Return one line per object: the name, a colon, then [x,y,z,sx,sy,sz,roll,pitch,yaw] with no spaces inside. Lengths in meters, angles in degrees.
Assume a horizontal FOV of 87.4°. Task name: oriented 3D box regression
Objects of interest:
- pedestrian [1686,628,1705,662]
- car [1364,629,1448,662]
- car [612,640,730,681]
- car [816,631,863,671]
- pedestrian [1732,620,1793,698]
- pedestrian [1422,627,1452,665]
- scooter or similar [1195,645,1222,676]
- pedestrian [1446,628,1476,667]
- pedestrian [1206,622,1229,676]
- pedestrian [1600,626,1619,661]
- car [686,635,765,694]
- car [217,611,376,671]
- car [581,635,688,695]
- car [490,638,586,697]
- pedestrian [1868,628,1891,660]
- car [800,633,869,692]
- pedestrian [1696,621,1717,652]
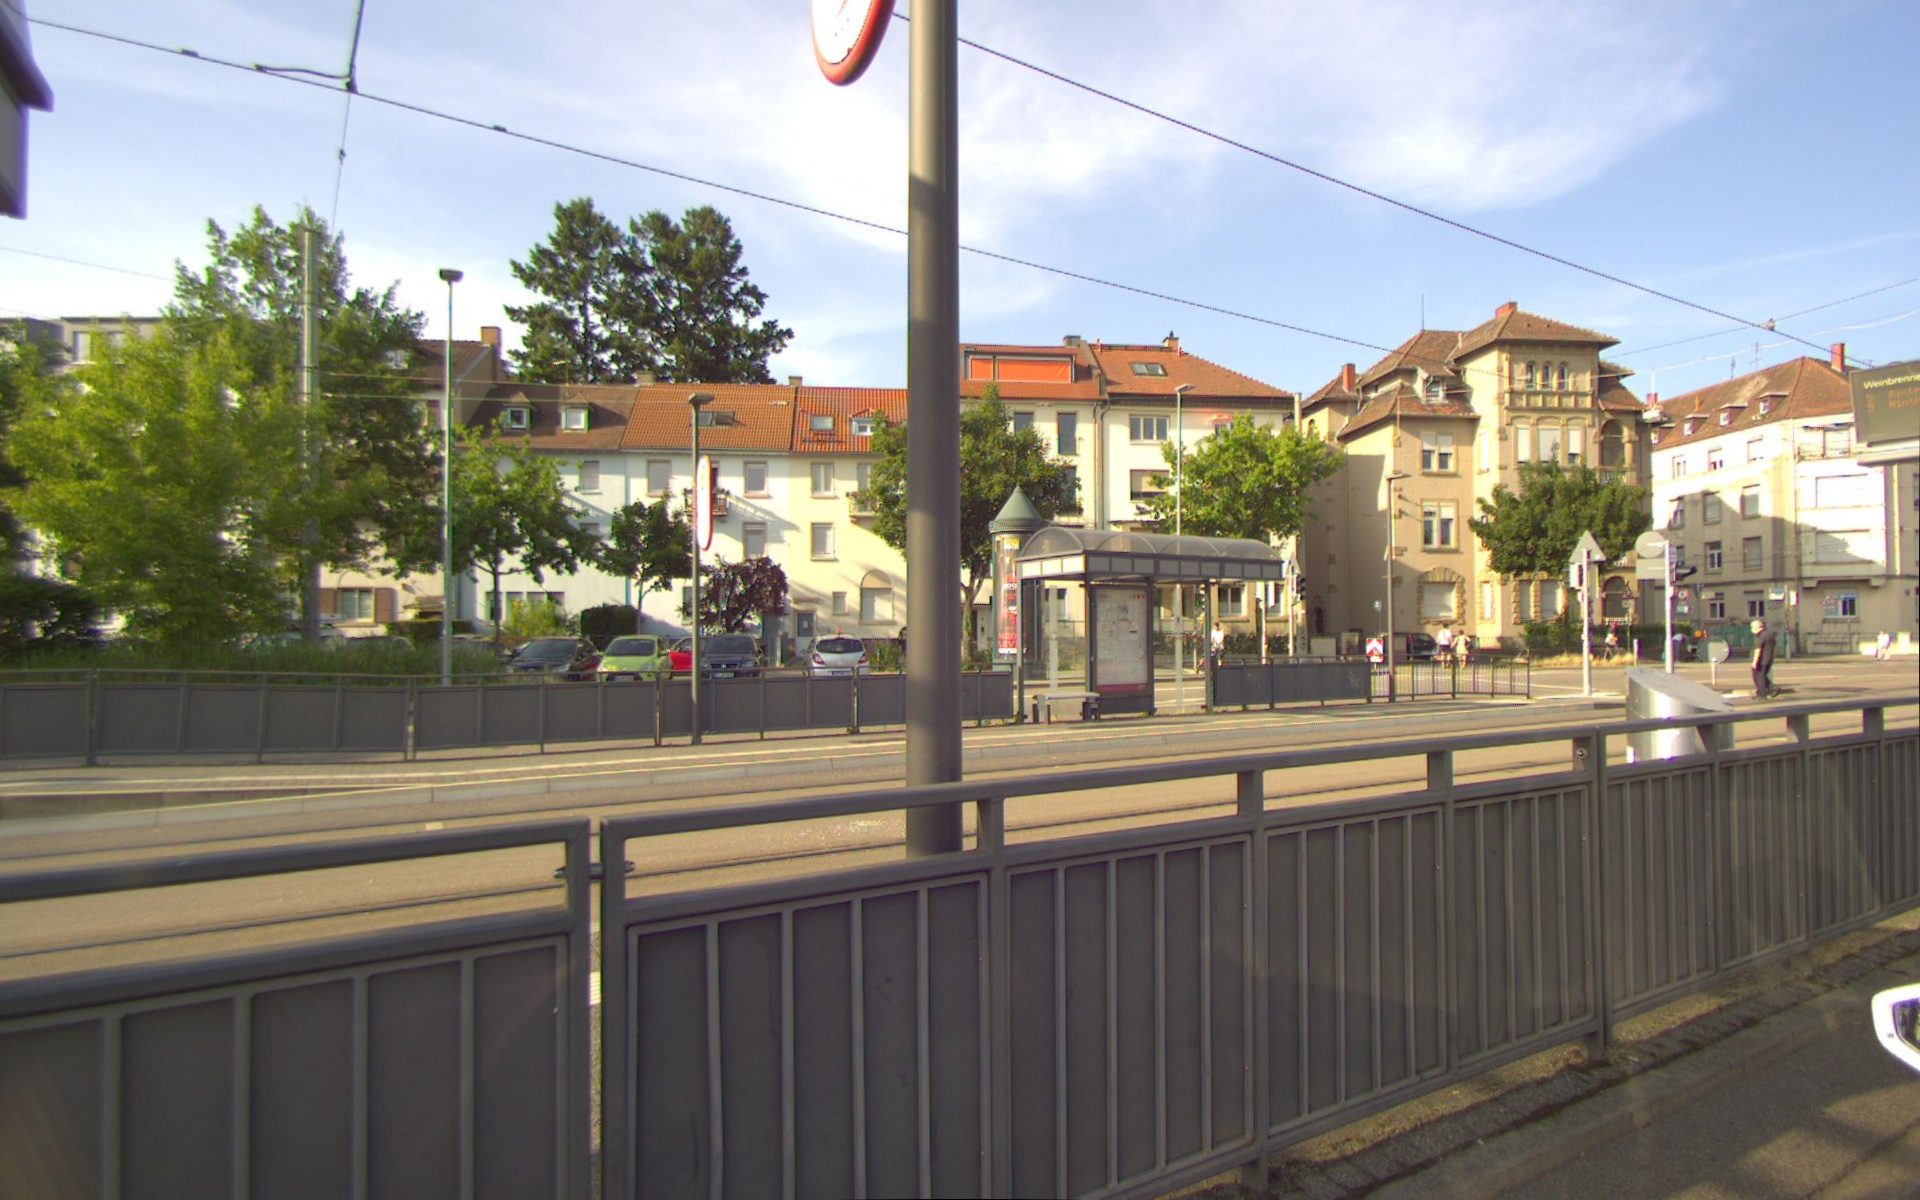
pedestrian: [33.203,2.044,45.351,0.382,1.520,0.535,0,-2,-15]
car: [21.089,2.129,47.669,1.732,1.327,4.111,1,0,-8]
car: [-10.480,2.175,36.708,3.927,1.416,1.836,0,-2,-9]
car: [-5.332,2.235,44.681,1.962,1.684,3.997,0,-2,-6]
pedestrian: [17.527,1.281,21.954,0.778,1.667,0.757,-1,-2,16]
pedestrian: [20.205,1.940,42.551,0.768,1.572,0.831,0,-2,-8]
scooter or similar: [8.210,1.994,33.171,0.548,1.001,1.021,-1,-2,32]
pedestrian: [20.790,1.966,41.721,0.768,1.572,0.831,0,-2,-8]
pedestrian: [8.704,1.648,33.925,0.539,1.769,0.762,-1,-2,31]
pedestrian: [28.843,1.937,44.605,0.540,1.520,0.437,0,-2,-15]
car: [-6.399,1.722,27.758,1.815,1.505,3.995,0,-2,-9]
car: [-17.884,1.117,27.340,1.813,1.505,3.999,0,-2,-3]
car: [-8.876,1.738,27.730,1.813,1.505,3.999,0,-2,-3]
car: [-11.114,1.729,26.714,1.968,1.416,3.985,0,-2,-18]
pedestrian: [45.982,2.205,50.227,0.702,1.561,0.626,1,-2,-30]
car: [-3.583,1.711,28.306,1.815,1.505,3.995,0,-2,-9]
pedestrian: [49.352,2.423,66.445,0.773,2.040,0.775,0,-2,-15]
